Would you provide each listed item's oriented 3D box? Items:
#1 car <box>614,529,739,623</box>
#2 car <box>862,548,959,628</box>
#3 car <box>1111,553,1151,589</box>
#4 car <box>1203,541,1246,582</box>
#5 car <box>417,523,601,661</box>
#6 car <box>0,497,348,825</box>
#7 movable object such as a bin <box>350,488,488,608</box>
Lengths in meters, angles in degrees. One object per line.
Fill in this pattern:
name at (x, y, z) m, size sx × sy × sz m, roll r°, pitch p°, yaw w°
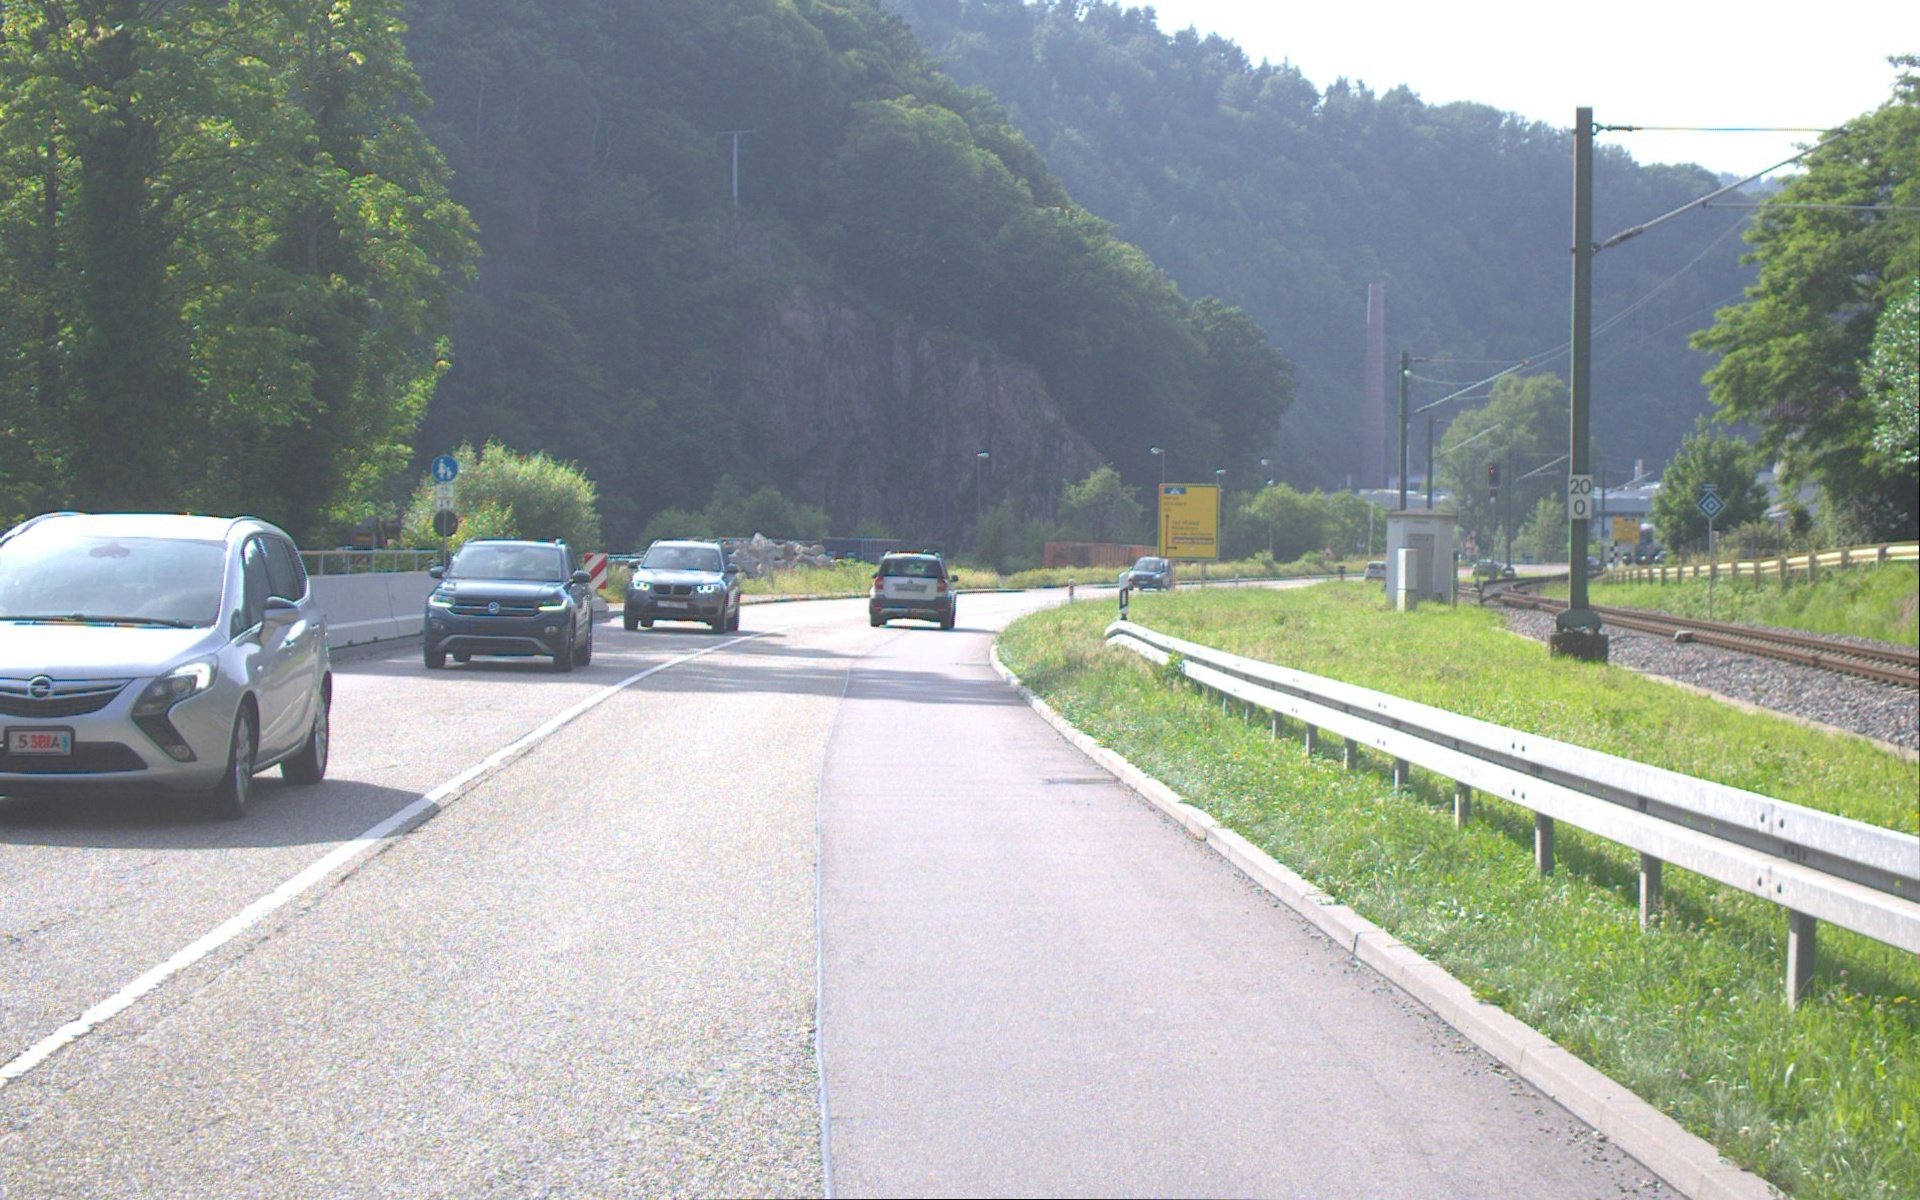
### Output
car at (-5.234, -0.472, 63.994) m, size 1.993 × 1.623 × 4.508 m, roll 2°, pitch 1°, yaw -1°
car at (-1.063, -0.279, 76.352) m, size 1.993 × 1.717 × 3.990 m, roll 0°, pitch 1°, yaw 1°
car at (9.122, -1.538, 182.713) m, size 1.851 × 1.778 × 4.683 m, roll 3°, pitch 1°, yaw 5°
car at (13.173, -1.905, 170.868) m, size 1.994 × 2.007 × 3.999 m, roll -1°, pitch 1°, yaw 6°
car at (-5.487, -0.133, 42.245) m, size 1.798 × 1.551 × 4.332 m, roll 2°, pitch 1°, yaw -2°
car at (-4.757, 0.268, 19.747) m, size 1.773 × 1.664 × 4.647 m, roll 0°, pitch 1°, yaw -2°
movable object such as a bin at (-18.529, -1.764, 118.382) m, size 2.699 × 3.934 × 9.989 m, roll 0°, pitch 0°, yaw 3°
